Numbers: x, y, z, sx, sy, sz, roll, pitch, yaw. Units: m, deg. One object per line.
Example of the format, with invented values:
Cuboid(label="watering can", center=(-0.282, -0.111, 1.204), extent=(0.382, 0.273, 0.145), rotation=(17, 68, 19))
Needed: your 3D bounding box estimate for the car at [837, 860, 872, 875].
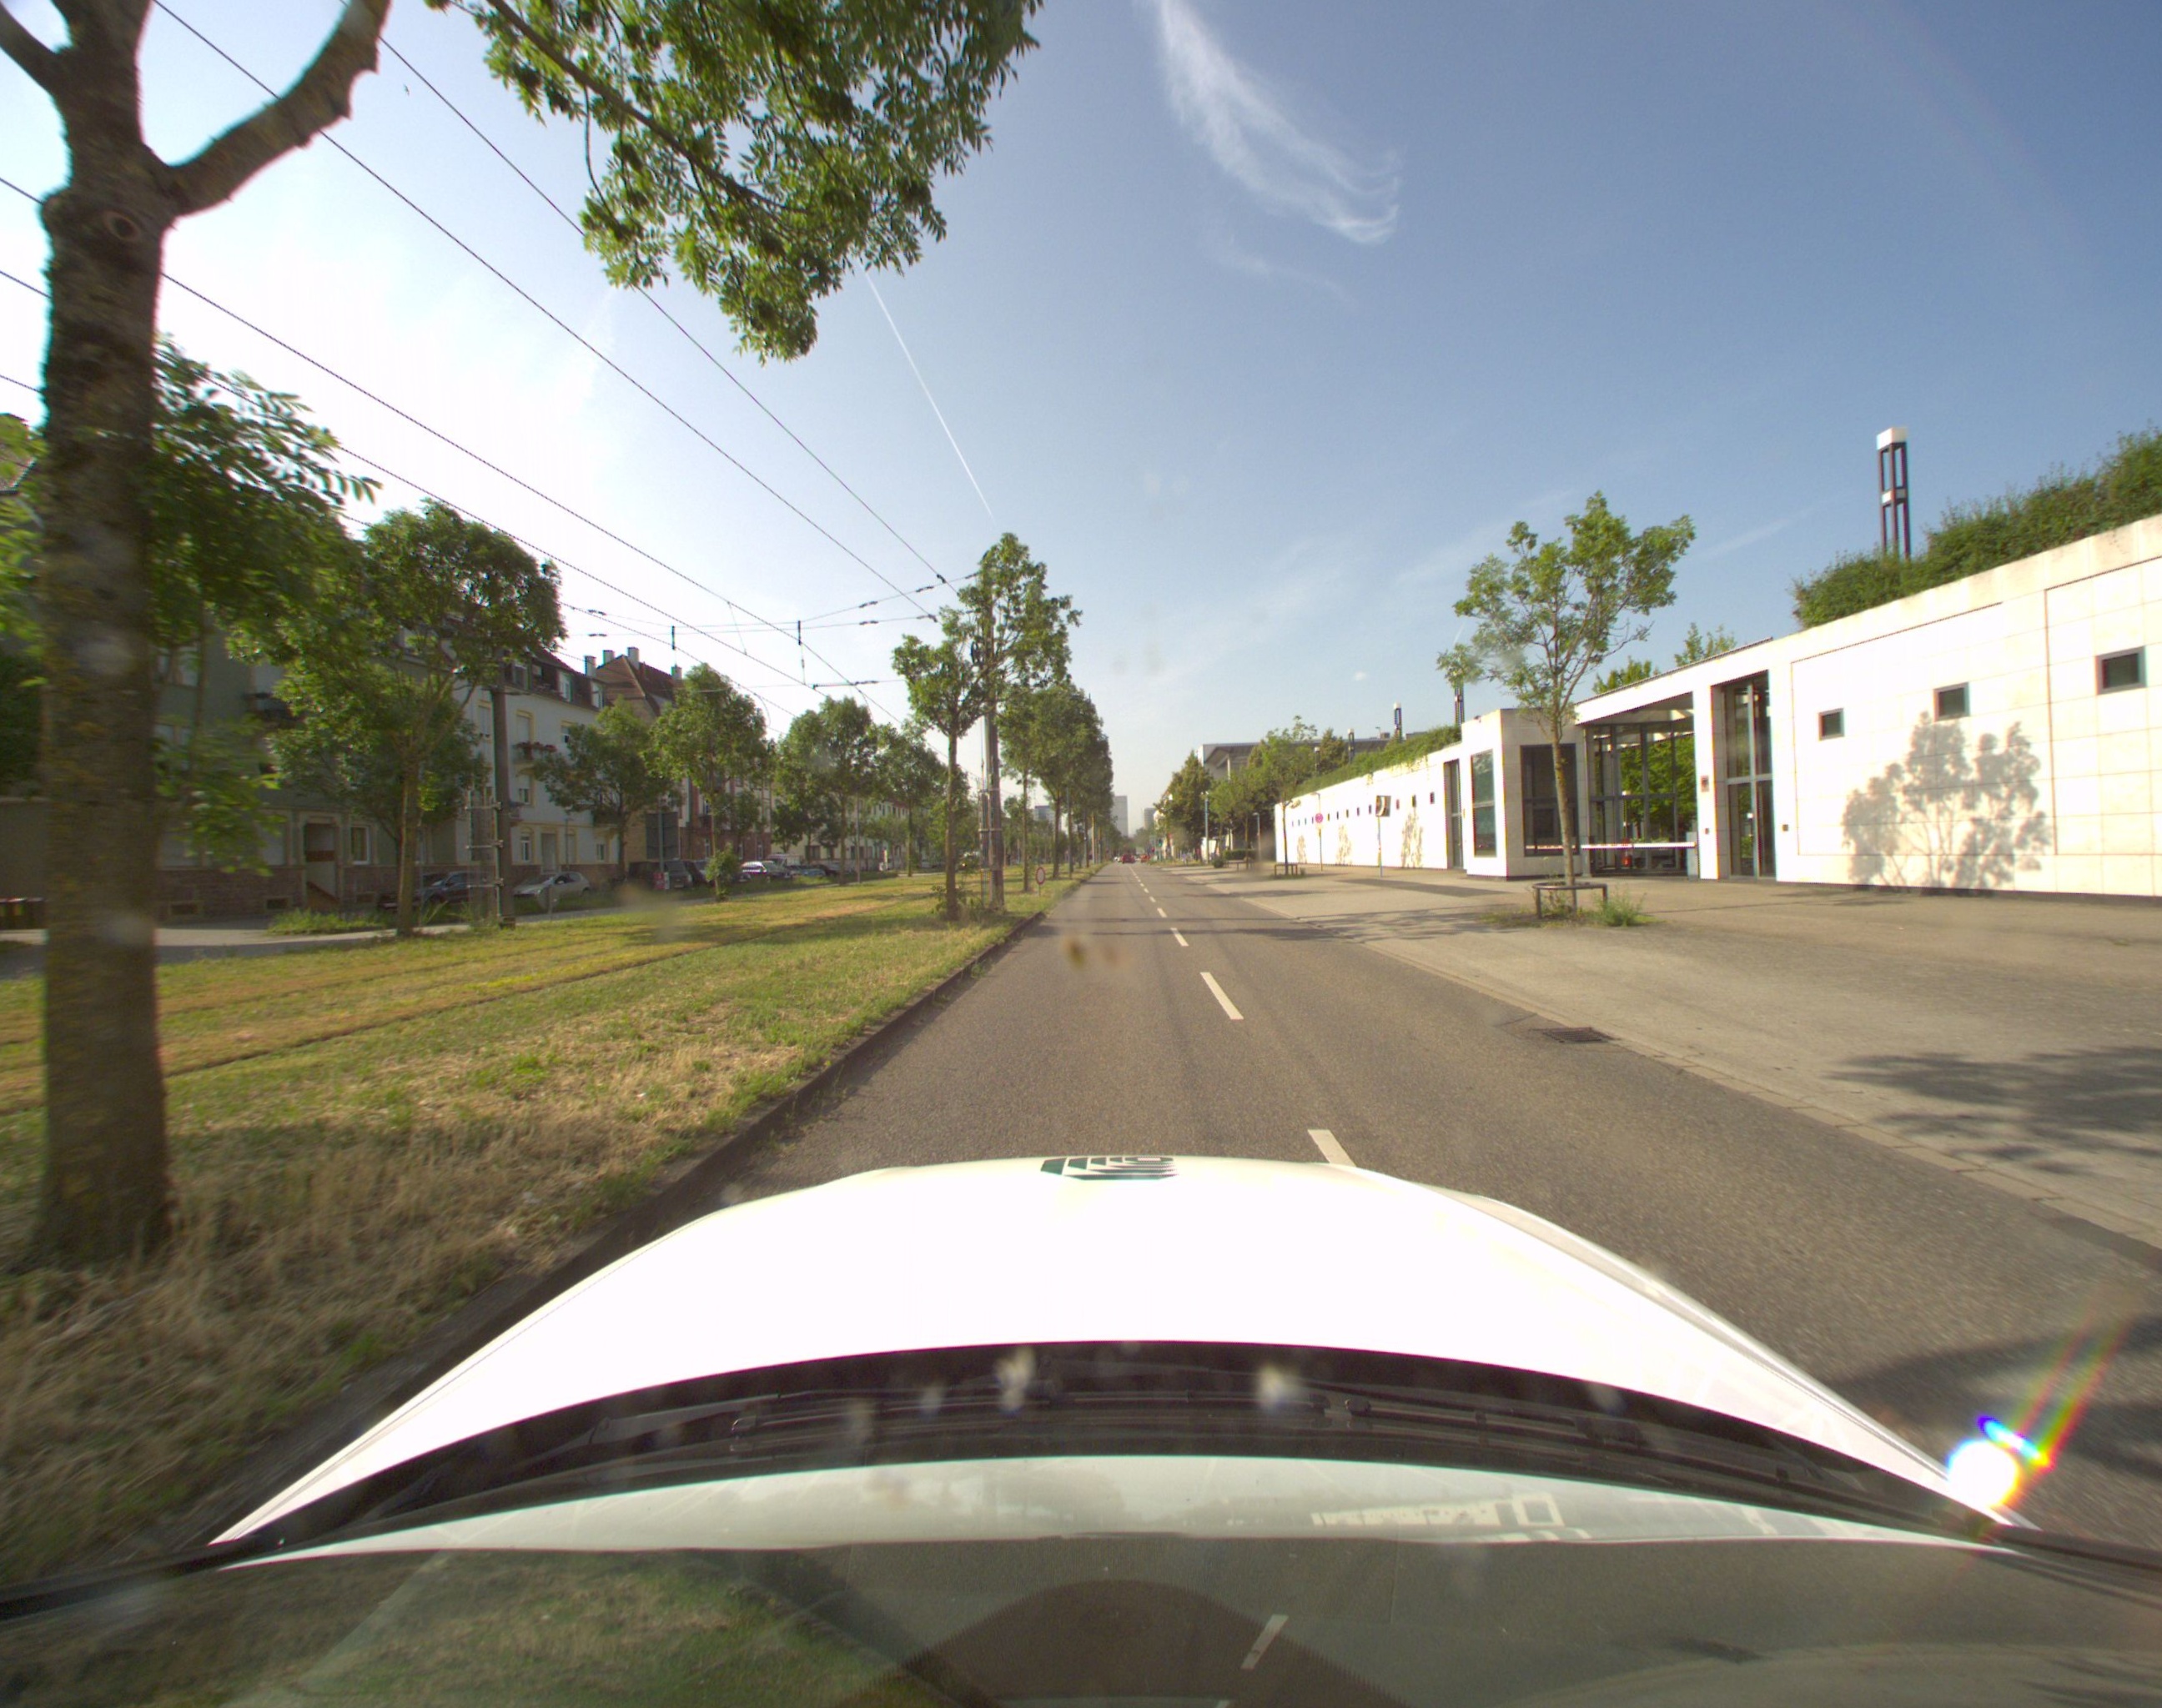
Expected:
Cuboid(label="car", center=(-21.158, 1.259, 76.077), extent=(3.124, 1.326, 1.506), rotation=(0, -1, 36))

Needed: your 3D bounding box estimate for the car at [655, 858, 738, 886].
Cuboid(label="car", center=(-23.133, 1.045, 48.956), extent=(5.155, 1.623, 2.070), rotation=(0, -1, 33))

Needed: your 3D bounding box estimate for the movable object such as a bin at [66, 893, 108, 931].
Cuboid(label="movable object such as a bin", center=(-33.613, 1.952, 27.544), extent=(0.583, 1.211, 0.640), rotation=(0, -1, 1))

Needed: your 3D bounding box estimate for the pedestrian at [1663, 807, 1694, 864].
Cuboid(label="pedestrian", center=(20.155, -0.618, 27.475), extent=(0.558, 1.873, 0.589), rotation=(0, -3, -28))

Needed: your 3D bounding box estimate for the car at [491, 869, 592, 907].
Cuboid(label="car", center=(-25.609, 1.586, 38.865), extent=(1.882, 1.628, 4.159), rotation=(0, 0, 3))

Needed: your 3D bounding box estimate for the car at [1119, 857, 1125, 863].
Cuboid(label="car", center=(12.255, 1.745, 243.350), extent=(1.741, 1.650, 3.218), rotation=(0, -1, 3))

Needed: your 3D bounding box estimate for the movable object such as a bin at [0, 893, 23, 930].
Cuboid(label="movable object such as a bin", center=(-36.325, 1.944, 27.392), extent=(0.583, 1.211, 0.640), rotation=(0, -1, 1))

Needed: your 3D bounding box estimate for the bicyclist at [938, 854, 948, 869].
Cuboid(label="bicyclist", center=(-16.370, 0.871, 96.694), extent=(1.145, 1.762, 0.684), rotation=(1, -1, -7))

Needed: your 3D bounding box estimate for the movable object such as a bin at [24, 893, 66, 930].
Cuboid(label="movable object such as a bin", center=(-34.975, 1.940, 27.495), extent=(0.583, 1.211, 0.640), rotation=(0, -1, 1))

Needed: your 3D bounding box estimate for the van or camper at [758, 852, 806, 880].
Cuboid(label="van or camper", center=(-28.577, 1.172, 78.154), extent=(2.031, 2.567, 6.359), rotation=(0, -1, 2))

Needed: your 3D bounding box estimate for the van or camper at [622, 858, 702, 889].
Cuboid(label="van or camper", center=(-23.750, 1.085, 46.118), extent=(4.788, 1.623, 2.015), rotation=(0, -1, 35))

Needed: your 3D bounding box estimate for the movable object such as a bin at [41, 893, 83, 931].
Cuboid(label="movable object such as a bin", center=(-34.350, 1.945, 27.464), extent=(0.583, 1.211, 0.640), rotation=(0, -1, 1))

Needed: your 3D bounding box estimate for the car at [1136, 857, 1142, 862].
Cuboid(label="car", center=(16.857, 1.615, 237.815), extent=(1.741, 1.650, 3.218), rotation=(0, -1, 3))

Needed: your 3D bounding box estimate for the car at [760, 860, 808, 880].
Cuboid(label="car", center=(-22.778, 1.223, 62.445), extent=(3.948, 1.417, 1.587), rotation=(0, -1, 37))

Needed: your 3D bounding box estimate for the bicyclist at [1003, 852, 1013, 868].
Cuboid(label="bicyclist", center=(-8.713, 0.695, 97.446), extent=(1.144, 1.934, 0.685), rotation=(1, -1, -2))

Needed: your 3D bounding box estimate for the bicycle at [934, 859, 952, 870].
Cuboid(label="bicycle", center=(-16.349, 1.281, 96.684), extent=(2.064, 1.324, 0.782), rotation=(1, -1, -7))

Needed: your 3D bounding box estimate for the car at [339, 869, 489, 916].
Cuboid(label="car", center=(-26.501, 1.485, 32.635), extent=(1.986, 1.628, 4.776), rotation=(0, 0, 1))

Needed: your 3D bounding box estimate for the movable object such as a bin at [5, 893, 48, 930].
Cuboid(label="movable object such as a bin", center=(-35.582, 1.935, 27.496), extent=(0.583, 1.211, 0.640), rotation=(0, -1, 1))

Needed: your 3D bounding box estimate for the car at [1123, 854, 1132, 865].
Cuboid(label="car", center=(8.501, 0.944, 148.985), extent=(1.741, 2.014, 3.218), rotation=(0, -1, 3))

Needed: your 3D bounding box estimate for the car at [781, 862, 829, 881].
Cuboid(label="car", center=(-21.933, 1.363, 64.673), extent=(3.948, 1.417, 1.587), rotation=(0, -1, 35))

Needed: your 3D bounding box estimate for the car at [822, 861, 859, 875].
Cuboid(label="car", center=(-21.300, 1.203, 71.970), extent=(3.124, 1.161, 1.506), rotation=(0, -1, 35))

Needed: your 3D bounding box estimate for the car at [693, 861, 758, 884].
Cuboid(label="car", center=(-22.611, 1.144, 51.692), extent=(4.419, 1.419, 1.987), rotation=(0, -1, 40))

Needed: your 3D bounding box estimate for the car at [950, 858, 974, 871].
Cuboid(label="car", center=(-15.328, 1.332, 104.937), extent=(1.955, 1.694, 4.304), rotation=(0, -1, 6))

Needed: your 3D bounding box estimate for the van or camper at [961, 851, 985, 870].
Cuboid(label="van or camper", center=(-14.787, 0.909, 111.877), extent=(2.195, 2.531, 6.033), rotation=(0, -1, 2))

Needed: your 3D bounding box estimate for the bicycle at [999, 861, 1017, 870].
Cuboid(label="bicycle", center=(-8.728, 1.382, 97.417), extent=(2.063, 1.042, 0.667), rotation=(1, -1, -5))

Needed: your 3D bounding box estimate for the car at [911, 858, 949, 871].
Cuboid(label="car", center=(-20.482, 1.421, 110.572), extent=(5.258, 1.738, 2.013), rotation=(0, -1, 36))

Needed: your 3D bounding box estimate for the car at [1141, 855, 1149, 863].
Cuboid(label="car", center=(14.340, 1.151, 183.714), extent=(1.741, 1.650, 3.218), rotation=(0, -1, 3))
